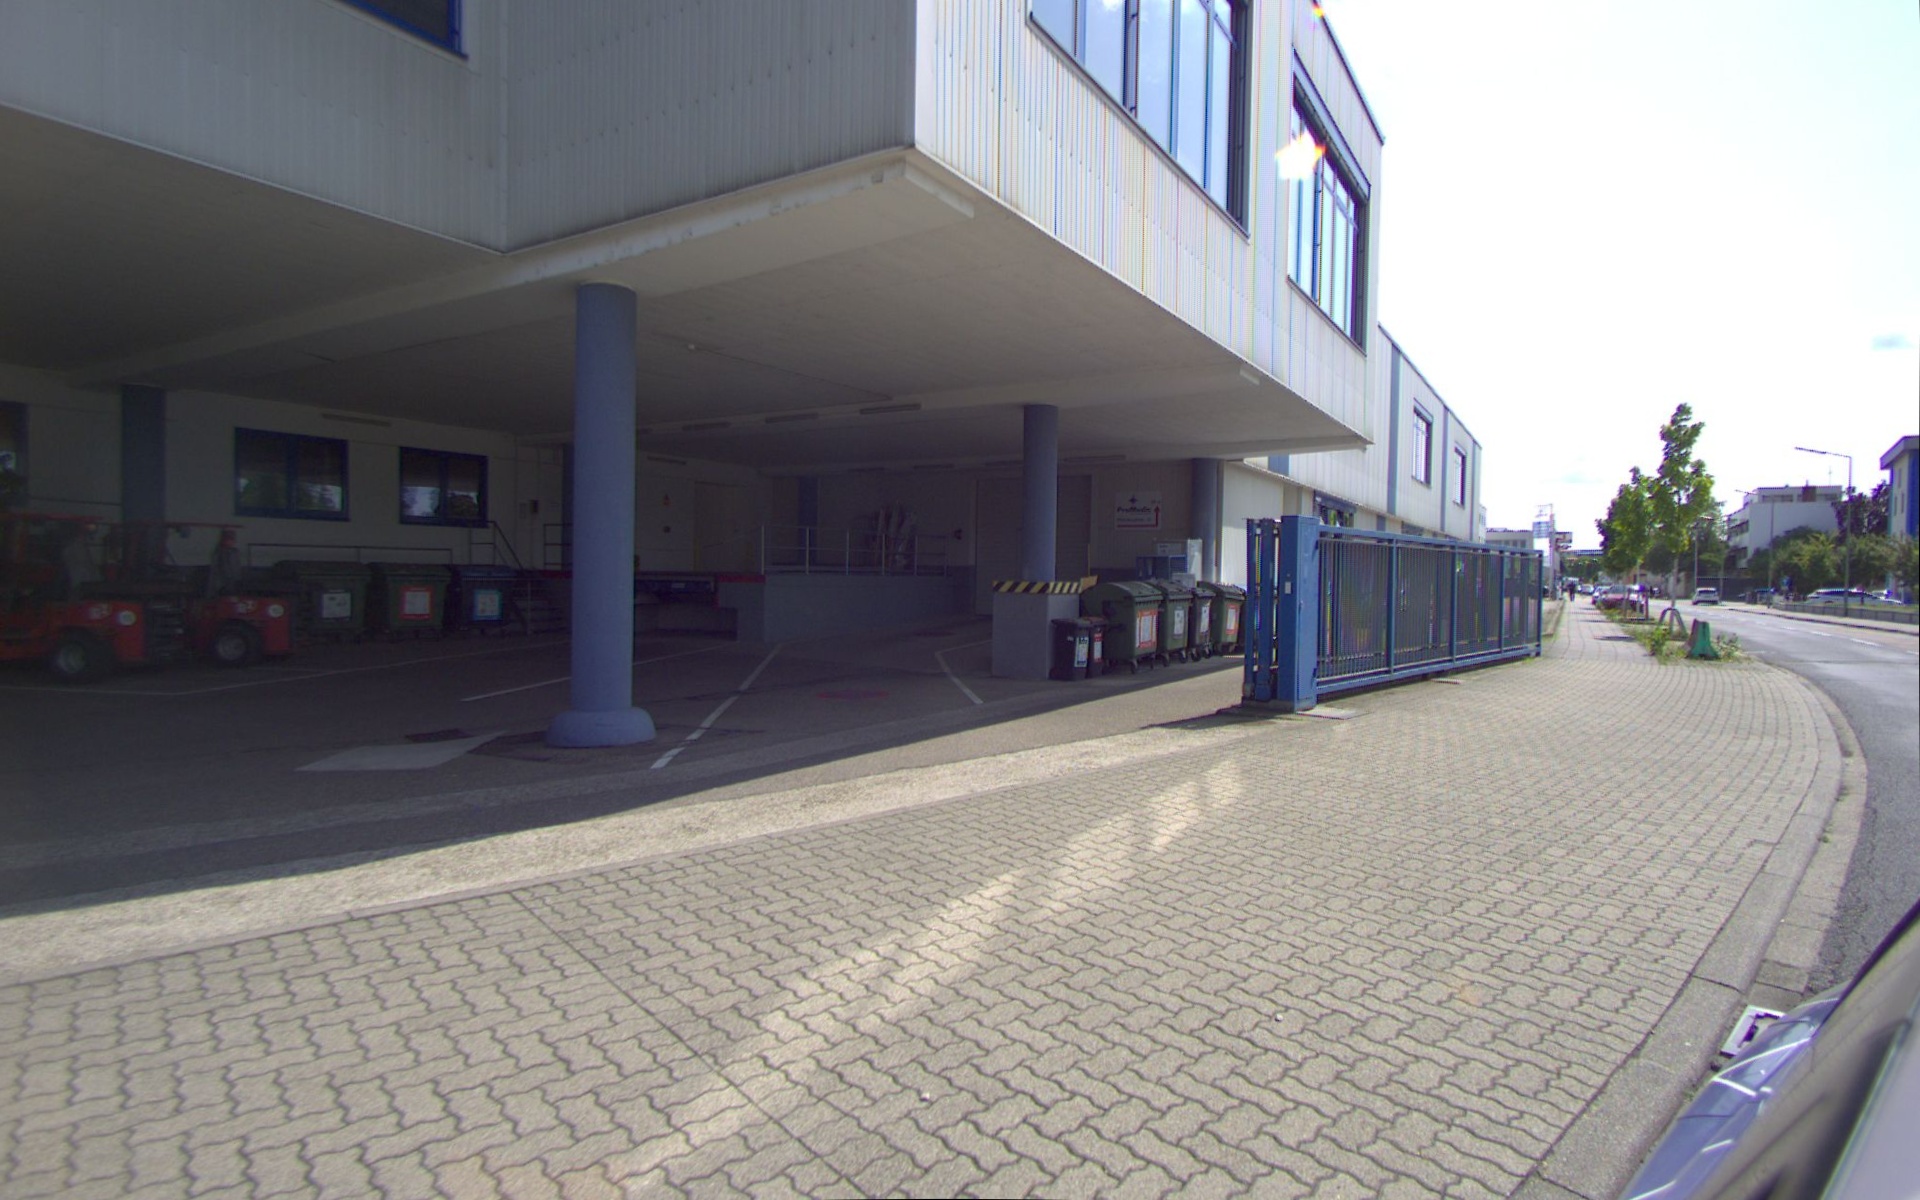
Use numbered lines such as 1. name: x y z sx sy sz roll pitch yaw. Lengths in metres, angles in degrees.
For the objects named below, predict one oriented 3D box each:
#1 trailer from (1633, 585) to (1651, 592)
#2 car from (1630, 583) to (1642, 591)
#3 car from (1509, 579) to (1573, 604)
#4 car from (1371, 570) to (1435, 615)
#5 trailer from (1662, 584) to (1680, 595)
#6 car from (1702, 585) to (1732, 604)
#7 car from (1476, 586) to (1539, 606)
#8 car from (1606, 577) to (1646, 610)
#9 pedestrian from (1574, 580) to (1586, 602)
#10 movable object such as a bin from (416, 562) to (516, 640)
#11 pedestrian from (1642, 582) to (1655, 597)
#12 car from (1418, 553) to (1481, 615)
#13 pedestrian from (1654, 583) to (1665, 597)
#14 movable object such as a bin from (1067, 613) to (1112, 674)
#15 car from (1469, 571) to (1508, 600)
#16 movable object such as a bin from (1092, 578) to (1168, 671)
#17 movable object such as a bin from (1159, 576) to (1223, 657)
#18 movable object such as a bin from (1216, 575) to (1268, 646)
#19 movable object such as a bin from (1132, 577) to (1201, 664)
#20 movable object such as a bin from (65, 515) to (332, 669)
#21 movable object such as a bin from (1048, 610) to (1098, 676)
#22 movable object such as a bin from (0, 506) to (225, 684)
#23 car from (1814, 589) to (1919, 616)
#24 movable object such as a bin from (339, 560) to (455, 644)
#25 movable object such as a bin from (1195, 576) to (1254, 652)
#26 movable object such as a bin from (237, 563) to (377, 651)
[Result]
1. trailer: 131.661 -2.175 195.502 2.438 1.178 5.988 -1 1 31
2. car: 141.320 -2.687 211.565 1.701 1.486 4.581 -2 1 30
3. car: 42.719 -0.664 74.456 4.064 1.707 1.978 1 2 31
4. car: 15.113 -0.289 34.462 1.489 1.420 3.812 0 2 32
5. trailer: 102.162 -1.483 145.397 1.758 1.457 4.288 -2 1 32
6. car: 73.912 -0.518 98.891 1.859 1.729 4.701 0 2 31
7. car: 43.499 -0.325 80.403 4.263 1.437 1.977 2 2 33
8. car: 35.963 -0.394 54.692 1.748 1.671 4.623 1 2 33
9. pedestrian: 52.269 -0.749 85.310 0.766 1.778 0.778 3 3 31
10. movable object such as a bin: -9.794 -0.003 20.101 1.327 1.487 1.279 1 1 30
11. pedestrian: 93.170 -1.452 136.907 0.976 1.975 1.089 1 2 9
12. car: 21.061 -0.735 43.393 1.915 2.494 5.201 0 2 32
13. pedestrian: 94.493 -1.379 136.680 0.845 1.829 1.003 1 2 9
14. movable object such as a bin: 2.028 0.674 15.868 0.595 0.921 0.413 0 1 30
15. car: 33.073 -0.943 63.270 1.819 1.530 4.591 1 5 32
16. movable object such as a bin: 2.784 0.360 16.487 0.800 1.431 1.344 0 1 30
17. movable object such as a bin: 4.326 0.281 18.884 0.800 1.431 1.391 0 1 30
18. movable object such as a bin: 5.938 0.194 21.276 0.800 1.431 1.162 0 1 30
19. movable object such as a bin: 3.618 0.327 17.628 0.800 1.431 1.344 0 1 30
20. movable object such as a bin: -10.856 -0.124 14.543 2.861 2.111 1.318 0 0 0
21. movable object such as a bin: 1.728 0.641 15.476 0.585 0.955 0.539 0 1 30
22. movable object such as a bin: -11.430 -0.067 12.723 3.370 2.111 1.434 0 0 0
23. car: 57.555 0.135 64.349 4.735 1.622 1.977 1 2 33
24. movable object such as a bin: -10.486 0.016 18.874 1.327 1.487 1.424 1 1 30
25. movable object such as a bin: 5.256 0.252 20.066 0.800 1.431 1.413 0 1 30
26. movable object such as a bin: -11.296 0.084 17.543 1.457 1.422 1.558 1 1 30
